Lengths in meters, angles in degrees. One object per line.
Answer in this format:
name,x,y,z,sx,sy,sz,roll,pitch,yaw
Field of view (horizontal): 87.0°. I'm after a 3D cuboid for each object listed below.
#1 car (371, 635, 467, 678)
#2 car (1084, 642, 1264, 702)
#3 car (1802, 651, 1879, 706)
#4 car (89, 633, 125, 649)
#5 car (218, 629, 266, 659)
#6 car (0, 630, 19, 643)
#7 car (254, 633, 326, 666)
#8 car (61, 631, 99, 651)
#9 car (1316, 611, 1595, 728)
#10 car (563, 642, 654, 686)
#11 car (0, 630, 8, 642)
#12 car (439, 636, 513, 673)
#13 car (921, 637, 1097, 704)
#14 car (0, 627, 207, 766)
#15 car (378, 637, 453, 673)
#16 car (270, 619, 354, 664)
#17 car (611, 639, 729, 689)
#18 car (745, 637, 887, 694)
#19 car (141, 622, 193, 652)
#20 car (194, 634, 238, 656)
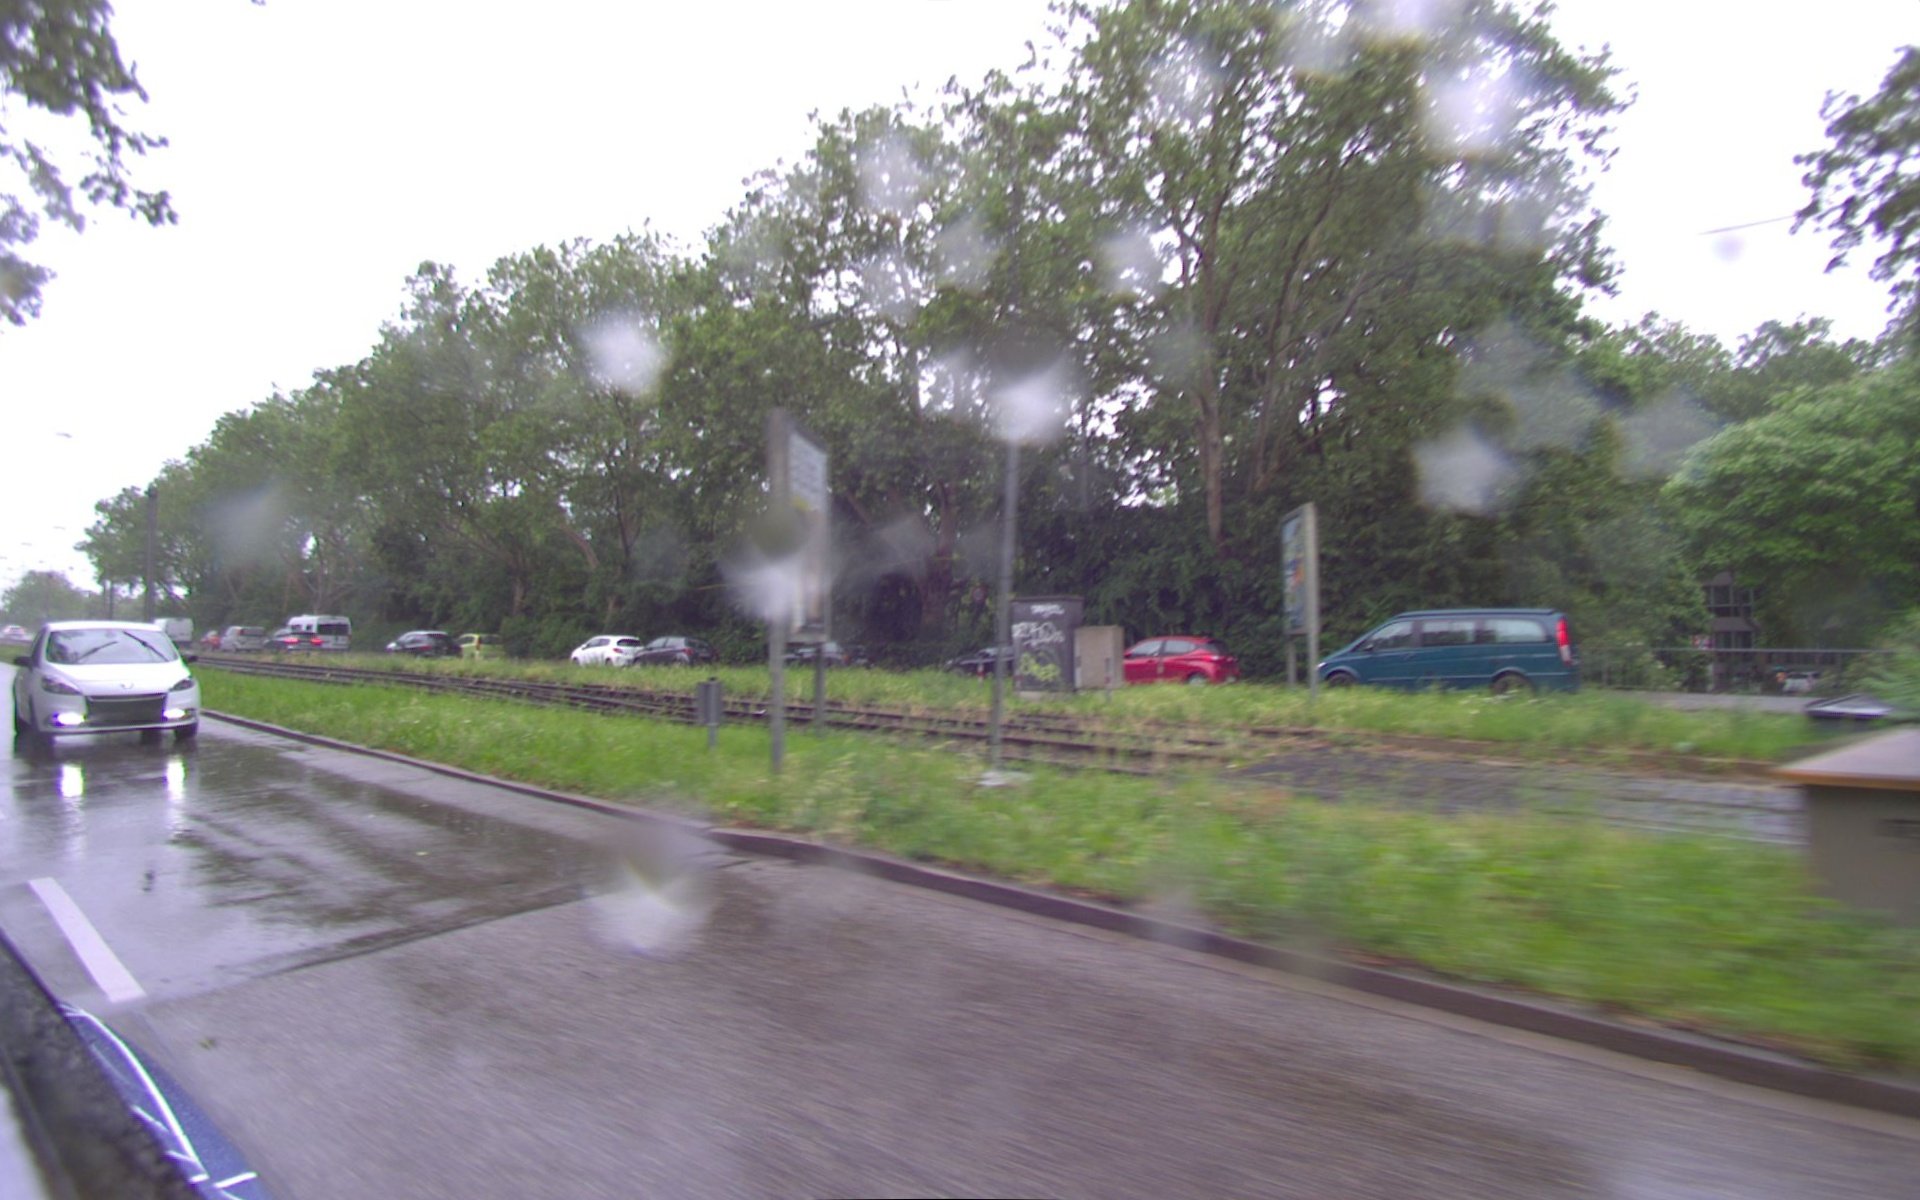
car,-22.743,2.342,42.514,4.272,1.670,2.011,-1,-3,39
car,5.210,1.722,24.851,3.981,1.327,1.719,-1,-3,38
car,20.820,1.828,23.972,1.307,1.038,2.639,0,1,41
car,-87.753,4.199,104.102,4.381,1.564,2.013,-1,-3,40
car,-51.147,3.121,72.078,4.641,1.876,1.935,0,1,44
car,-124.435,4.757,132.008,4.765,1.579,1.958,-1,-3,40
car,-35.611,2.613,53.748,4.391,1.670,1.993,-1,-3,40
car,-82.930,3.840,95.323,4.256,1.764,2.011,-1,-3,40
car,9.971,1.328,20.574,4.797,2.109,2.012,-1,-3,38
car,-14.359,2.572,41.246,3.810,1.661,1.743,-1,-3,40
car,-141.710,5.270,148.859,4.565,1.564,2.012,0,-2,42
car,-23.186,2.601,48.435,3.810,1.661,1.743,-1,-3,40
car,1.299,1.893,28.114,4.606,1.670,2.011,-1,-3,40
car,-12.226,1.224,14.350,4.264,1.636,1.844,-1,-1,44
car,-27.862,2.780,51.728,4.527,1.741,1.732,-1,-3,40
car,-39.560,2.515,61.714,6.560,2.560,2.365,-1,-3,40
car,-11.013,2.379,38.294,4.690,1.764,2.011,-1,-3,40
car,-4.739,2.091,33.048,4.606,1.670,2.011,-1,-3,40
car,-67.638,3.153,86.319,6.136,2.465,2.305,-1,-3,41
car,-55.863,3.377,75.957,4.023,1.564,1.799,-1,-3,41
